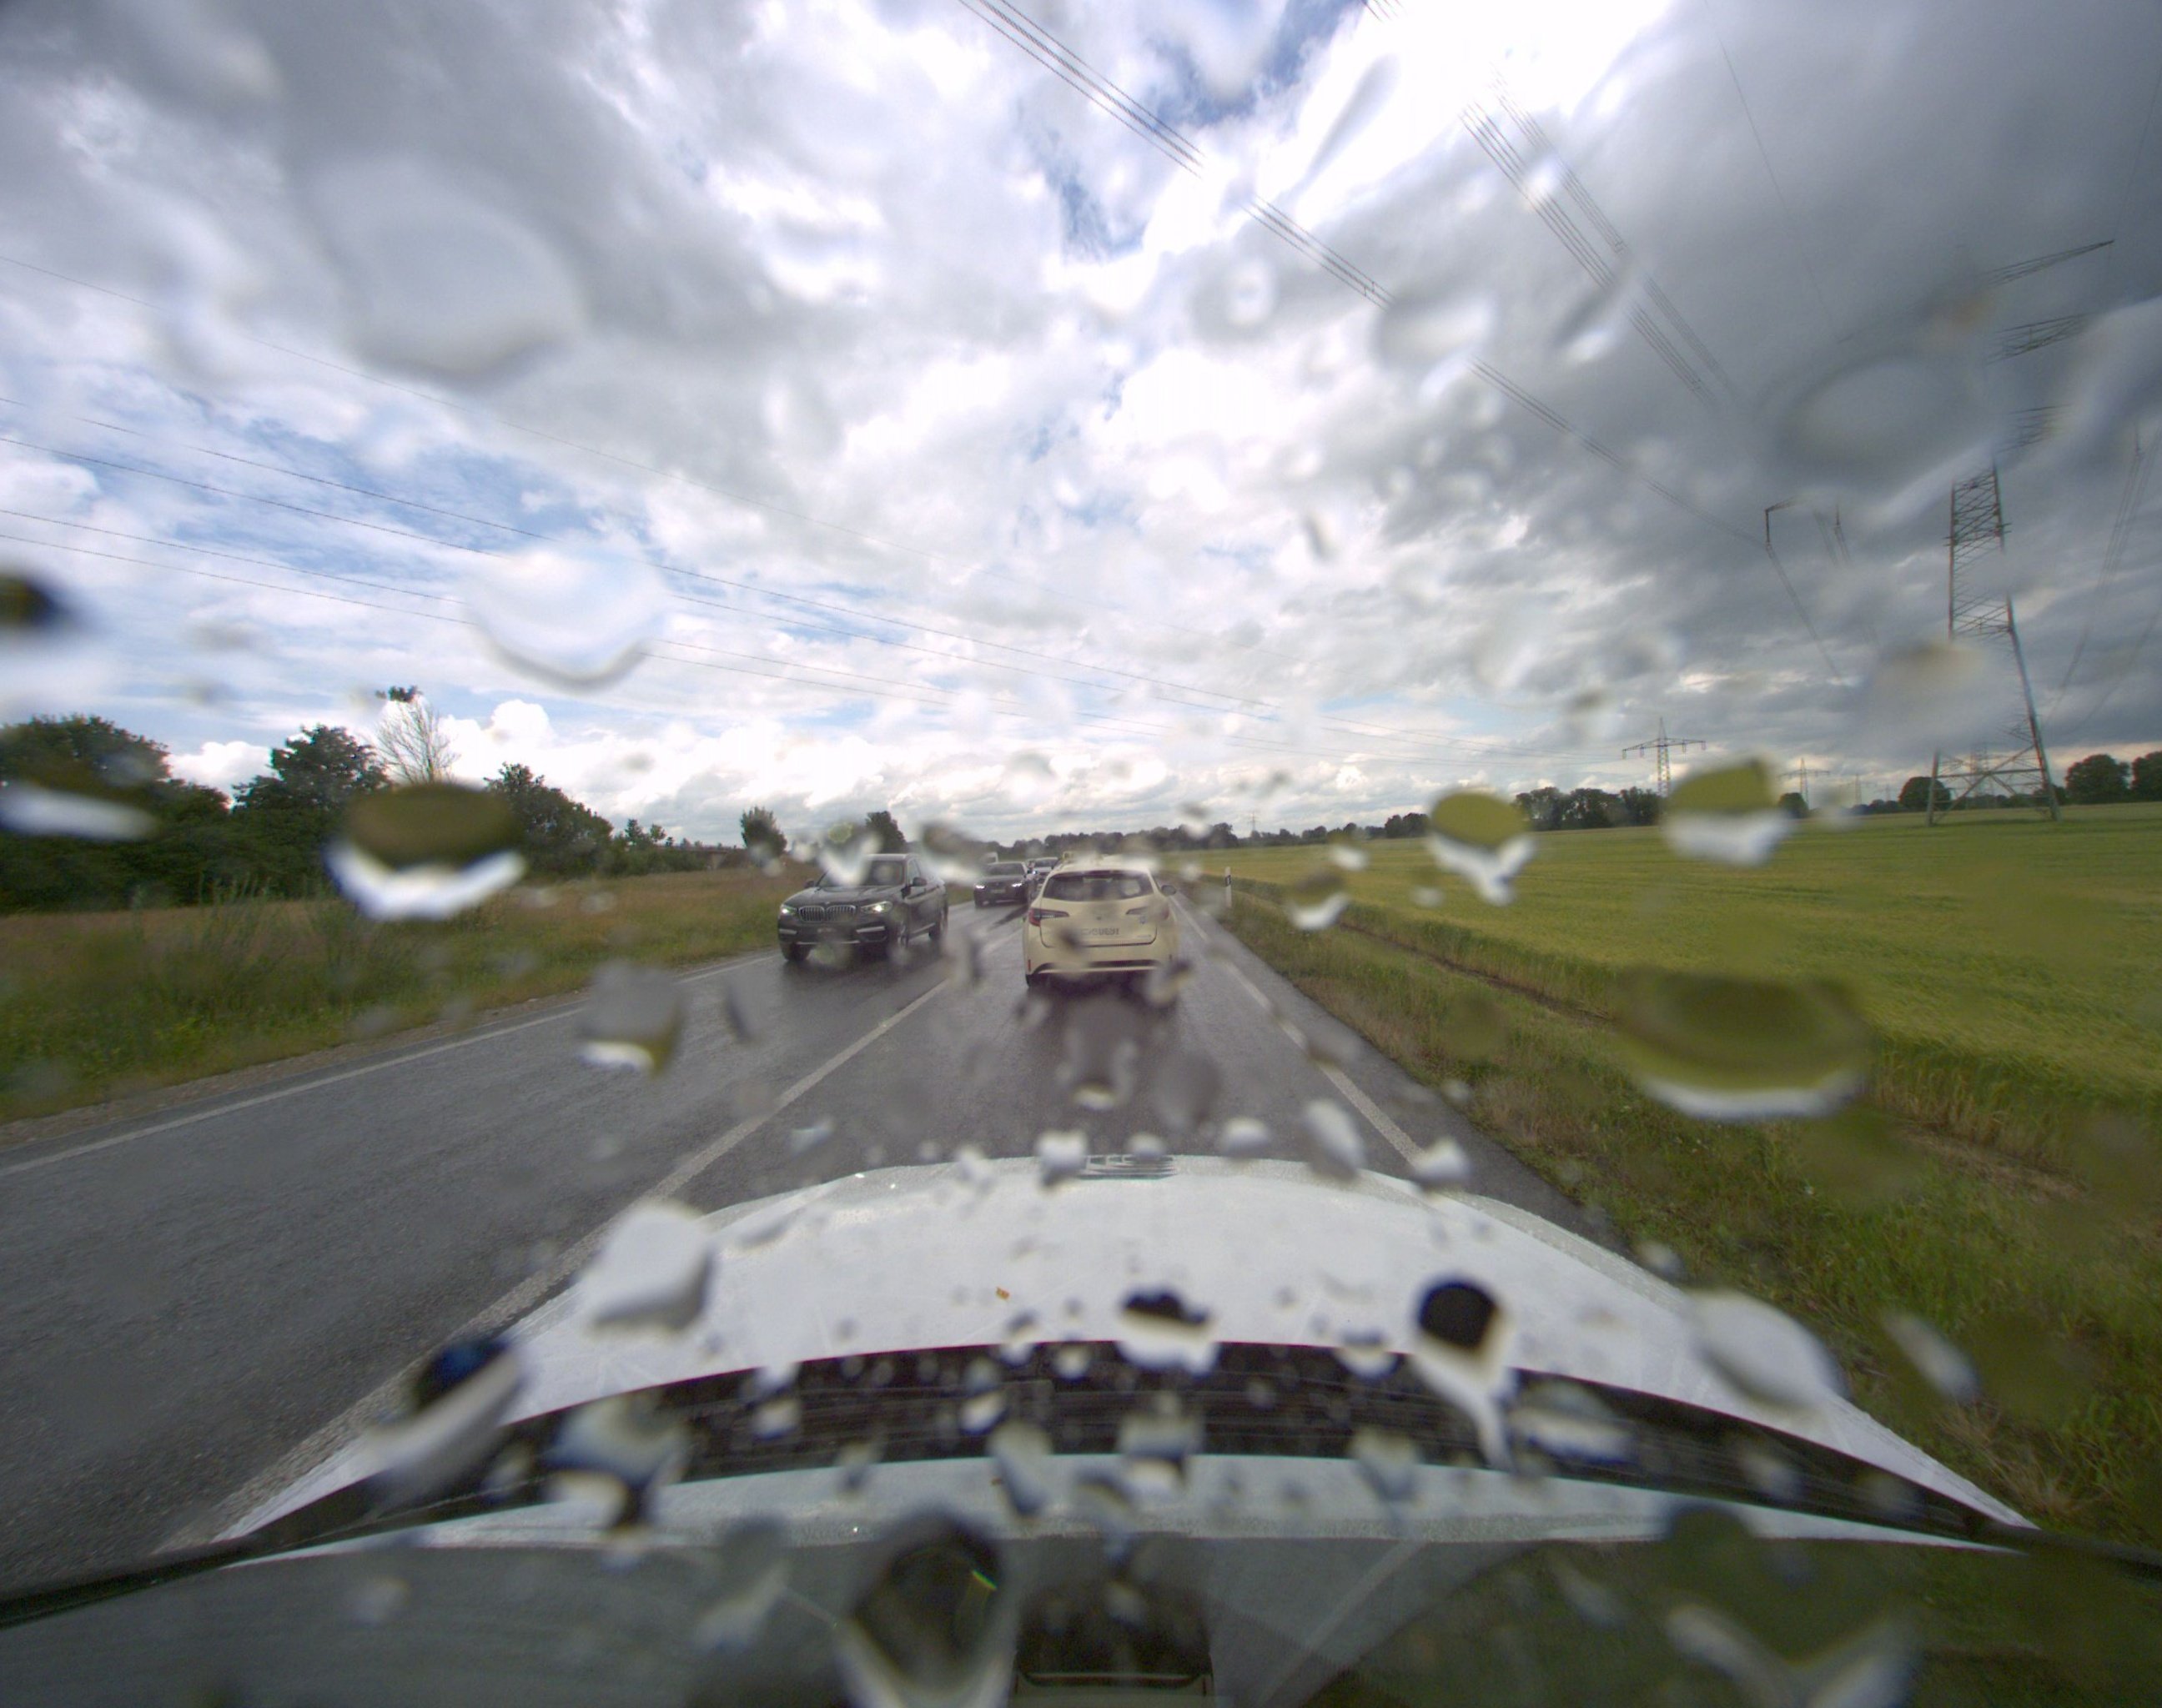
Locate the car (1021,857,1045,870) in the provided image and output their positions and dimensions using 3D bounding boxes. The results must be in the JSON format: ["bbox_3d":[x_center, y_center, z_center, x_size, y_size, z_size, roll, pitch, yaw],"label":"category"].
[{"bbox_3d":[-5.501,1.128,92.871,1.788,1.413,3.715,1,-2,-18],"label":"car"}]

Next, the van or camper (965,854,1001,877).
[{"bbox_3d":[-13.140,1.496,108.882,2.551,2.896,6.681,0,-1,-28],"label":"van or camper"}]

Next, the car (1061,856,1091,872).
[{"bbox_3d":[-0.514,0.961,77.246,1.962,1.413,4.372,0,-2,-13],"label":"car"}]

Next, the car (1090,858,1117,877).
[{"bbox_3d":[1.706,1.022,61.700,1.610,1.413,3.730,0,-2,-6],"label":"car"}]

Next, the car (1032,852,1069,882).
[{"bbox_3d":[-1.719,0.756,47.281,1.903,1.609,4.090,-2,0,0],"label":"car"}]

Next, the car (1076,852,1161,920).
[{"bbox_3d":[0.879,0.715,20.035,1.834,1.492,4.609,0,-1,1],"label":"car"}]

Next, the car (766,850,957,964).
[{"bbox_3d":[-3.580,0.794,14.232,1.841,1.631,4.538,-2,0,3],"label":"car"}]

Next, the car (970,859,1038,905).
[{"bbox_3d":[-2.684,0.955,29.385,1.841,1.448,4.093,-2,0,2],"label":"car"}]

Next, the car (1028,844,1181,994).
[{"bbox_3d":[0.398,0.727,10.396,1.605,1.562,3.742,0,-2,5],"label":"car"}]

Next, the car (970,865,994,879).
[{"bbox_3d":[-11.777,2.173,96.981,1.765,1.559,3.968,1,-2,-23],"label":"car"}]

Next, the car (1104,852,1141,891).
[{"bbox_3d":[1.900,0.780,36.556,1.606,1.659,3.742,0,-2,4],"label":"car"}]

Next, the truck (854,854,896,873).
[{"bbox_3d":[-34.673,1.651,136.961,3.040,3.210,8.131,2,-2,-44],"label":"truck"}]
